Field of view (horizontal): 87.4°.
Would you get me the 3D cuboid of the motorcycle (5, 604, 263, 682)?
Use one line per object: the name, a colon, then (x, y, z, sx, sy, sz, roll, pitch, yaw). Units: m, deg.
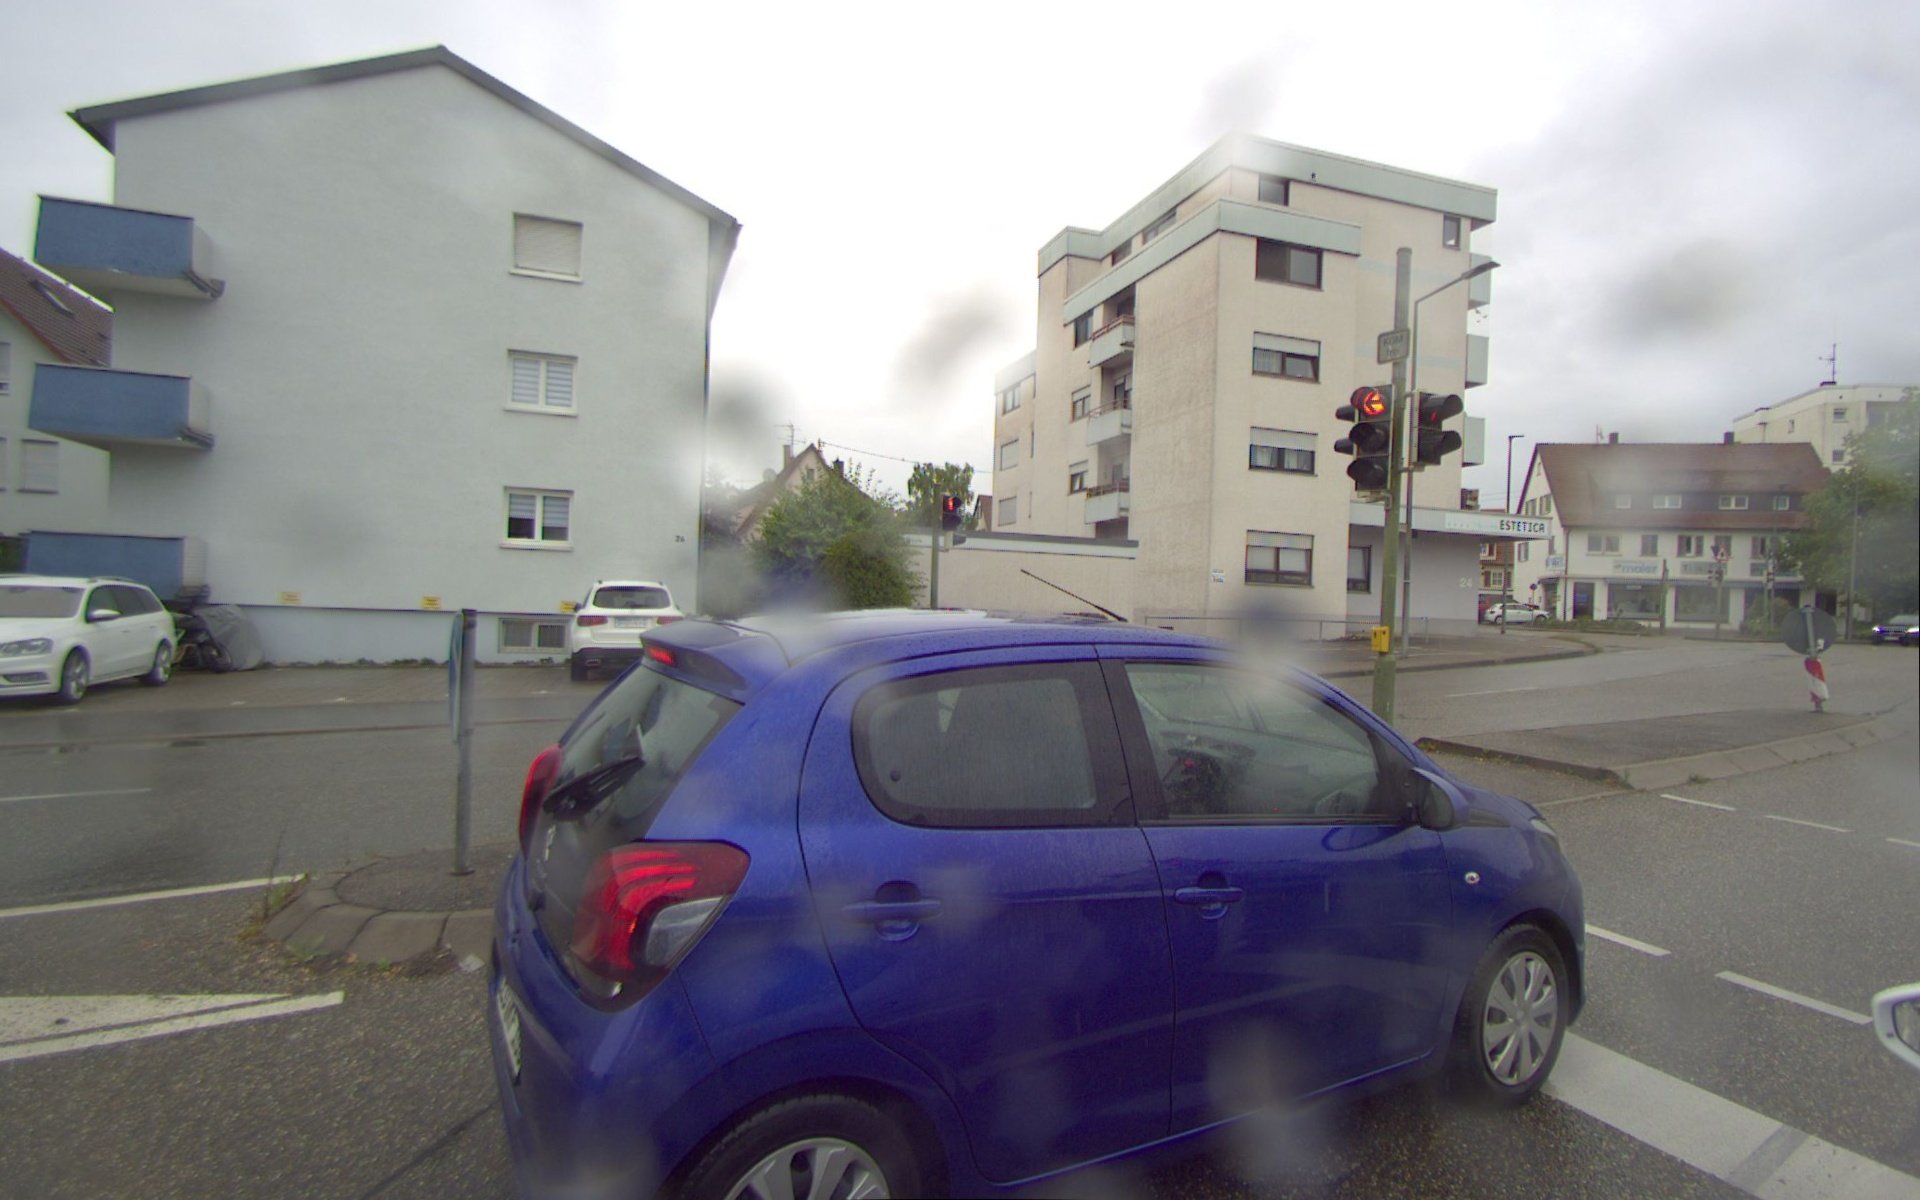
motorcycle: (-13.109, 0.642, 16.077, 0.864, 1.115, 3.113, 2, 1, 43)

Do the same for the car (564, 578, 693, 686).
car: (-5.893, 0.504, 17.828, 1.909, 1.658, 4.446, 1, 0, -19)

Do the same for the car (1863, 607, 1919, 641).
car: (42.396, 1.072, 45.037, 3.785, 1.439, 1.770, 1, 0, -30)

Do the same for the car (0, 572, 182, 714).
car: (-11.358, 0.446, 12.305, 1.878, 1.493, 4.209, 1, 0, -24)

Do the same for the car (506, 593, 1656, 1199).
car: (0.438, 0.735, 3.107, 3.231, 1.429, 1.571, 1, 1, -30)

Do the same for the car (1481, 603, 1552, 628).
car: (38.093, 1.030, 68.840, 3.887, 1.593, 1.873, 1, 1, 17)
